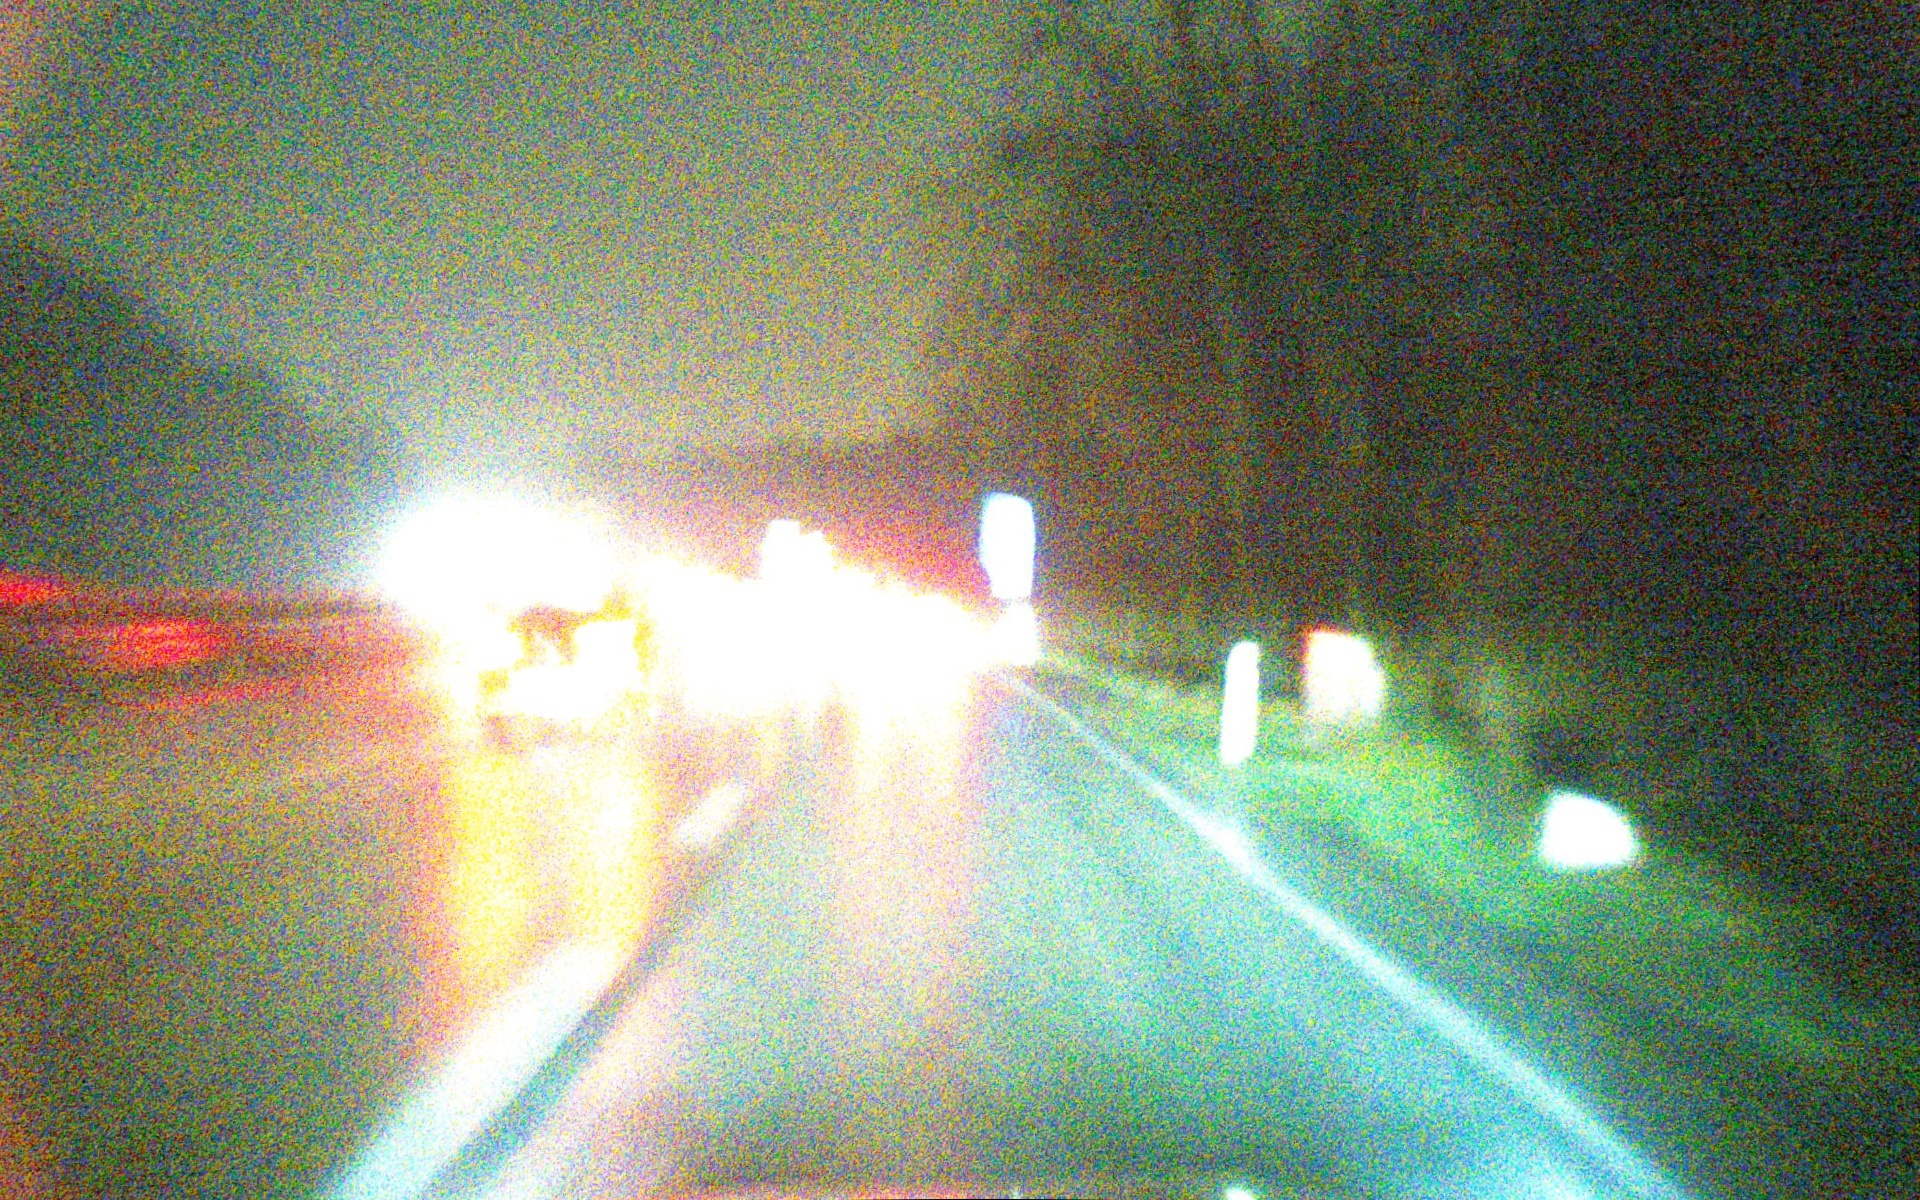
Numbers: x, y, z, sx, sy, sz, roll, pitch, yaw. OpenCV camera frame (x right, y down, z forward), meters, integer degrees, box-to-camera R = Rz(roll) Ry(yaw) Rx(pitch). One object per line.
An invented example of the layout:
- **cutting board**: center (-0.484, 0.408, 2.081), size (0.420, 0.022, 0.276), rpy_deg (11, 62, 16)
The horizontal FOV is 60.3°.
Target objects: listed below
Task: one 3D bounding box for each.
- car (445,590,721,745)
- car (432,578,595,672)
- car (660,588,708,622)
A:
- **car**: center (-3.907, 0.672, 17.882), size (1.922, 1.404, 4.049), rpy_deg (2, -1, 1)
- **car**: center (-8.099, 0.423, 30.423), size (1.732, 1.543, 4.913), rpy_deg (2, 0, -1)
- **car**: center (-13.508, 0.258, 81.100), size (1.854, 1.577, 3.997), rpy_deg (2, -1, -3)
